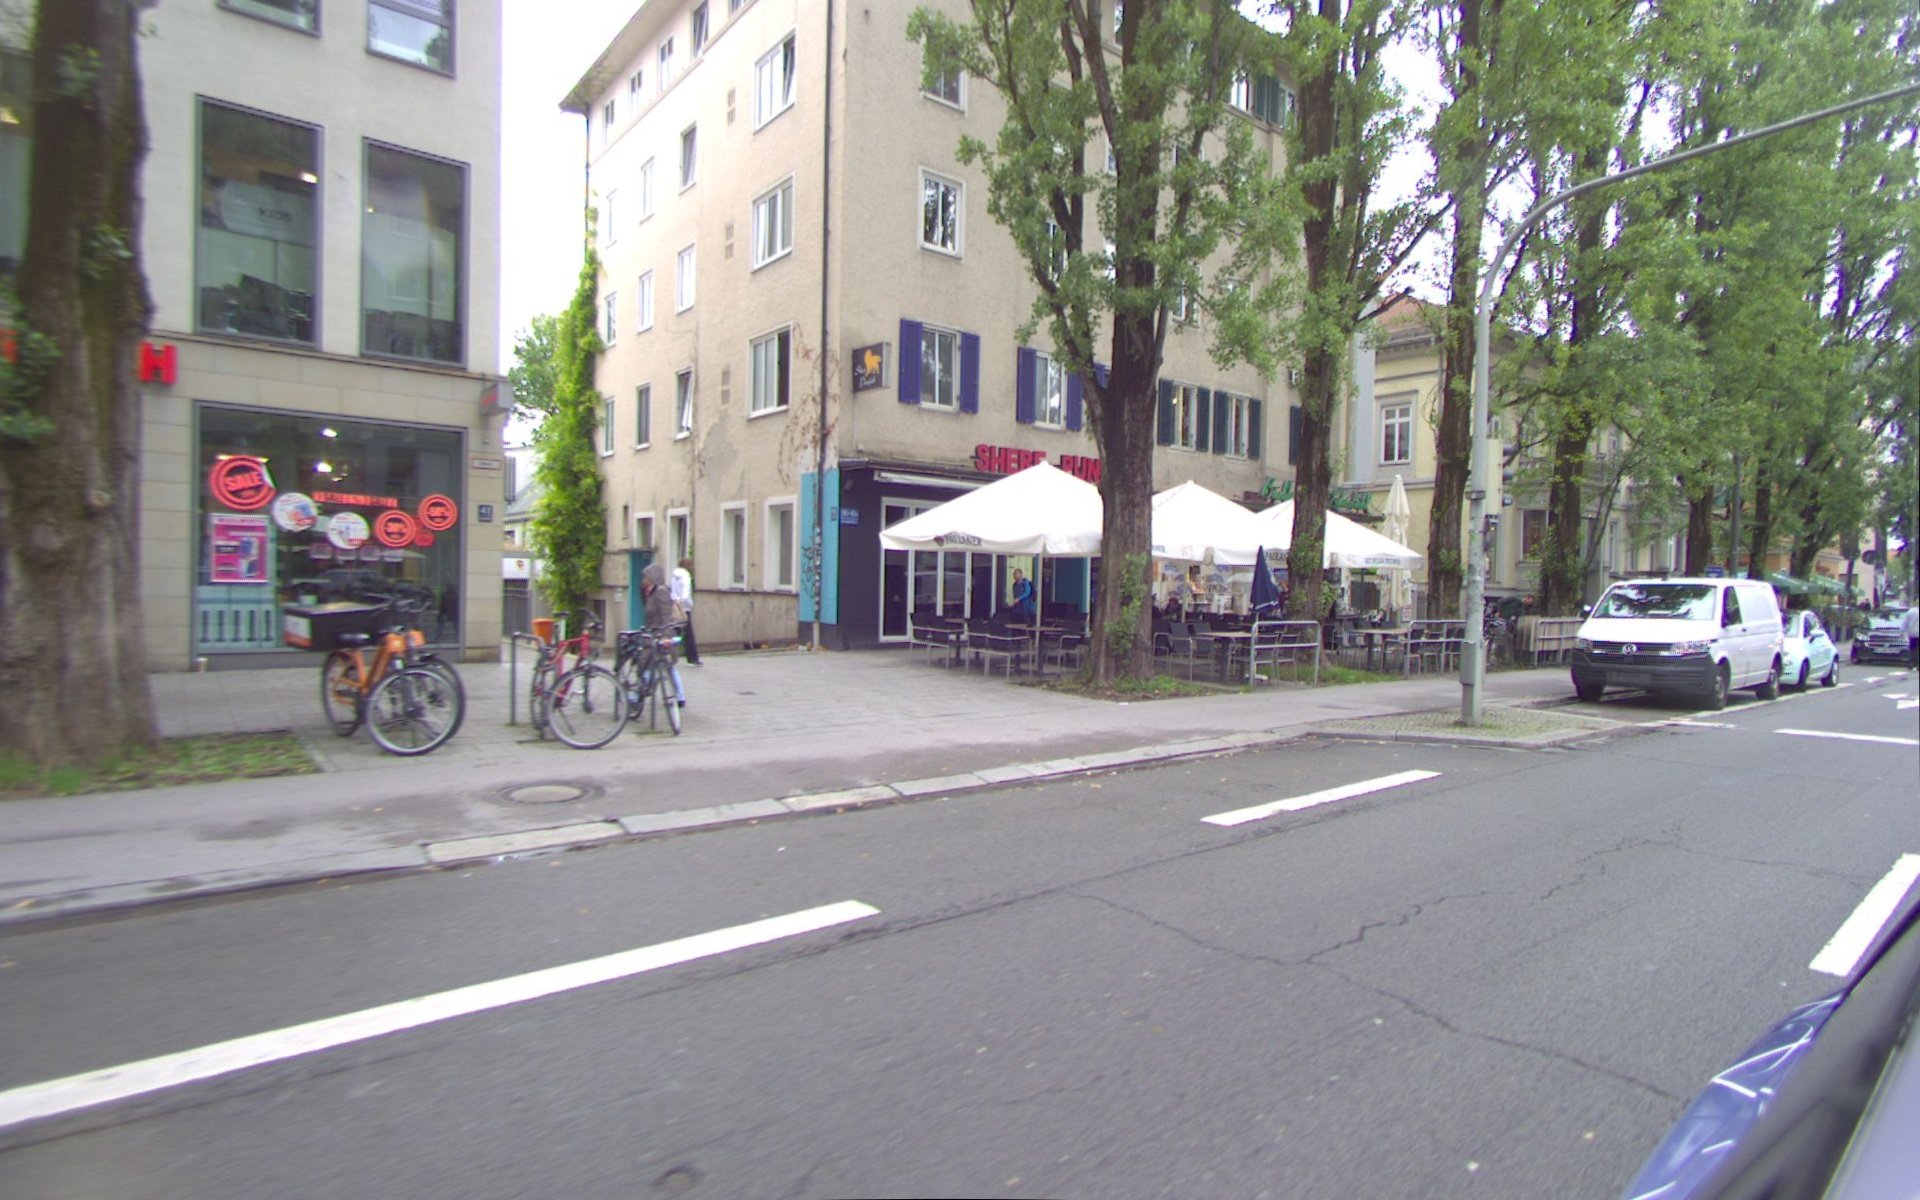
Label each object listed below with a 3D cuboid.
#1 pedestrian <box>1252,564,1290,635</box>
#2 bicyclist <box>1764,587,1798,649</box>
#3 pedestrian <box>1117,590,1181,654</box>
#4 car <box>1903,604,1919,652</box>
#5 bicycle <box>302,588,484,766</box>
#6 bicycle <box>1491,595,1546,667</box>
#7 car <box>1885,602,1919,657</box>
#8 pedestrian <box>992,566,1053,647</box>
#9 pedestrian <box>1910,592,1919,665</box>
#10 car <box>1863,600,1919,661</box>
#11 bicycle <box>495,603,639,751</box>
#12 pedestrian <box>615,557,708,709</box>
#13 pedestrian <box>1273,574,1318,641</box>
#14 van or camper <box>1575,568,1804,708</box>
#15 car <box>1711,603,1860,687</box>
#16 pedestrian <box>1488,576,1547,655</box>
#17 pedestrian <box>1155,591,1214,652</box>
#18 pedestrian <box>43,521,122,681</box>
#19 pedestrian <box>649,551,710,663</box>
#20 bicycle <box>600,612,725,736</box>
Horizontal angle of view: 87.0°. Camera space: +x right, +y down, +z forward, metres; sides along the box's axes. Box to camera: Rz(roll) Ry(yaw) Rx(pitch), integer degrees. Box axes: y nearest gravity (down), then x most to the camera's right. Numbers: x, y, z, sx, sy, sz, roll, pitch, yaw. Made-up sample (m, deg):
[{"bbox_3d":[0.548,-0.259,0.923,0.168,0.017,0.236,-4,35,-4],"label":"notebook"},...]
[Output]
[{"bbox_3d":[7.812,-0.019,25.411,0.668,1.741,0.629,1,0,-38],"label":"pedestrian"},{"bbox_3d":[22.883,0.491,28.213,0.805,1.699,0.584,1,1,-42],"label":"bicyclist"},{"bbox_3d":[3.781,0.431,20.242,1.004,1.232,0.775,1,0,-35],"label":"pedestrian"},{"bbox_3d":[32.374,0.927,33.257,3.536,1.546,1.476,1,1,-38],"label":"car"},{"bbox_3d":[-4.871,0.543,8.577,0.948,1.230,2.578,1,1,-38],"label":"bicycle"},{"bbox_3d":[11.833,0.619,21.499,0.820,1.429,2.577,1,0,25],"label":"bicycle"},{"bbox_3d":[28.869,0.869,30.078,3.536,1.546,1.476,1,1,-38],"label":"car"},{"bbox_3d":[1.293,0.129,21.050,0.997,1.624,0.764,1,0,-38],"label":"pedestrian"},{"bbox_3d":[24.001,0.704,24.943,0.787,1.779,0.758,2,1,41],"label":"pedestrian"},{"bbox_3d":[25.952,0.802,27.534,3.536,1.546,1.476,1,1,-38],"label":"car"},{"bbox_3d":[-3.606,0.635,9.181,0.673,1.141,1.903,1,1,-38],"label":"bicycle"},{"bbox_3d":[-3.318,0.344,11.239,0.778,1.608,0.712,1,2,-33],"label":"pedestrian"},{"bbox_3d":[8.242,0.183,24.864,0.858,1.597,0.696,1,0,-38],"label":"pedestrian"},{"bbox_3d":[11.668,0.527,16.081,4.482,1.929,1.795,1,0,-39],"label":"van or camper"},{"bbox_3d":[15.651,0.797,19.145,3.419,1.414,1.476,1,1,-38],"label":"car"},{"bbox_3d":[13.103,0.354,23.817,0.820,1.789,0.944,1,0,-1],"label":"pedestrian"},{"bbox_3d":[4.646,0.430,20.941,1.004,1.232,0.668,1,0,-36],"label":"pedestrian"},{"bbox_3d":[-10.235,0.009,11.804,0.546,1.790,0.631,1,0,44],"label":"pedestrian"},{"bbox_3d":[-4.340,0.105,15.645,0.680,1.685,0.667,1,0,-40],"label":"pedestrian"},{"bbox_3d":[-2.916,0.662,9.804,0.494,1.022,1.844,1,1,-38],"label":"bicycle"}]
